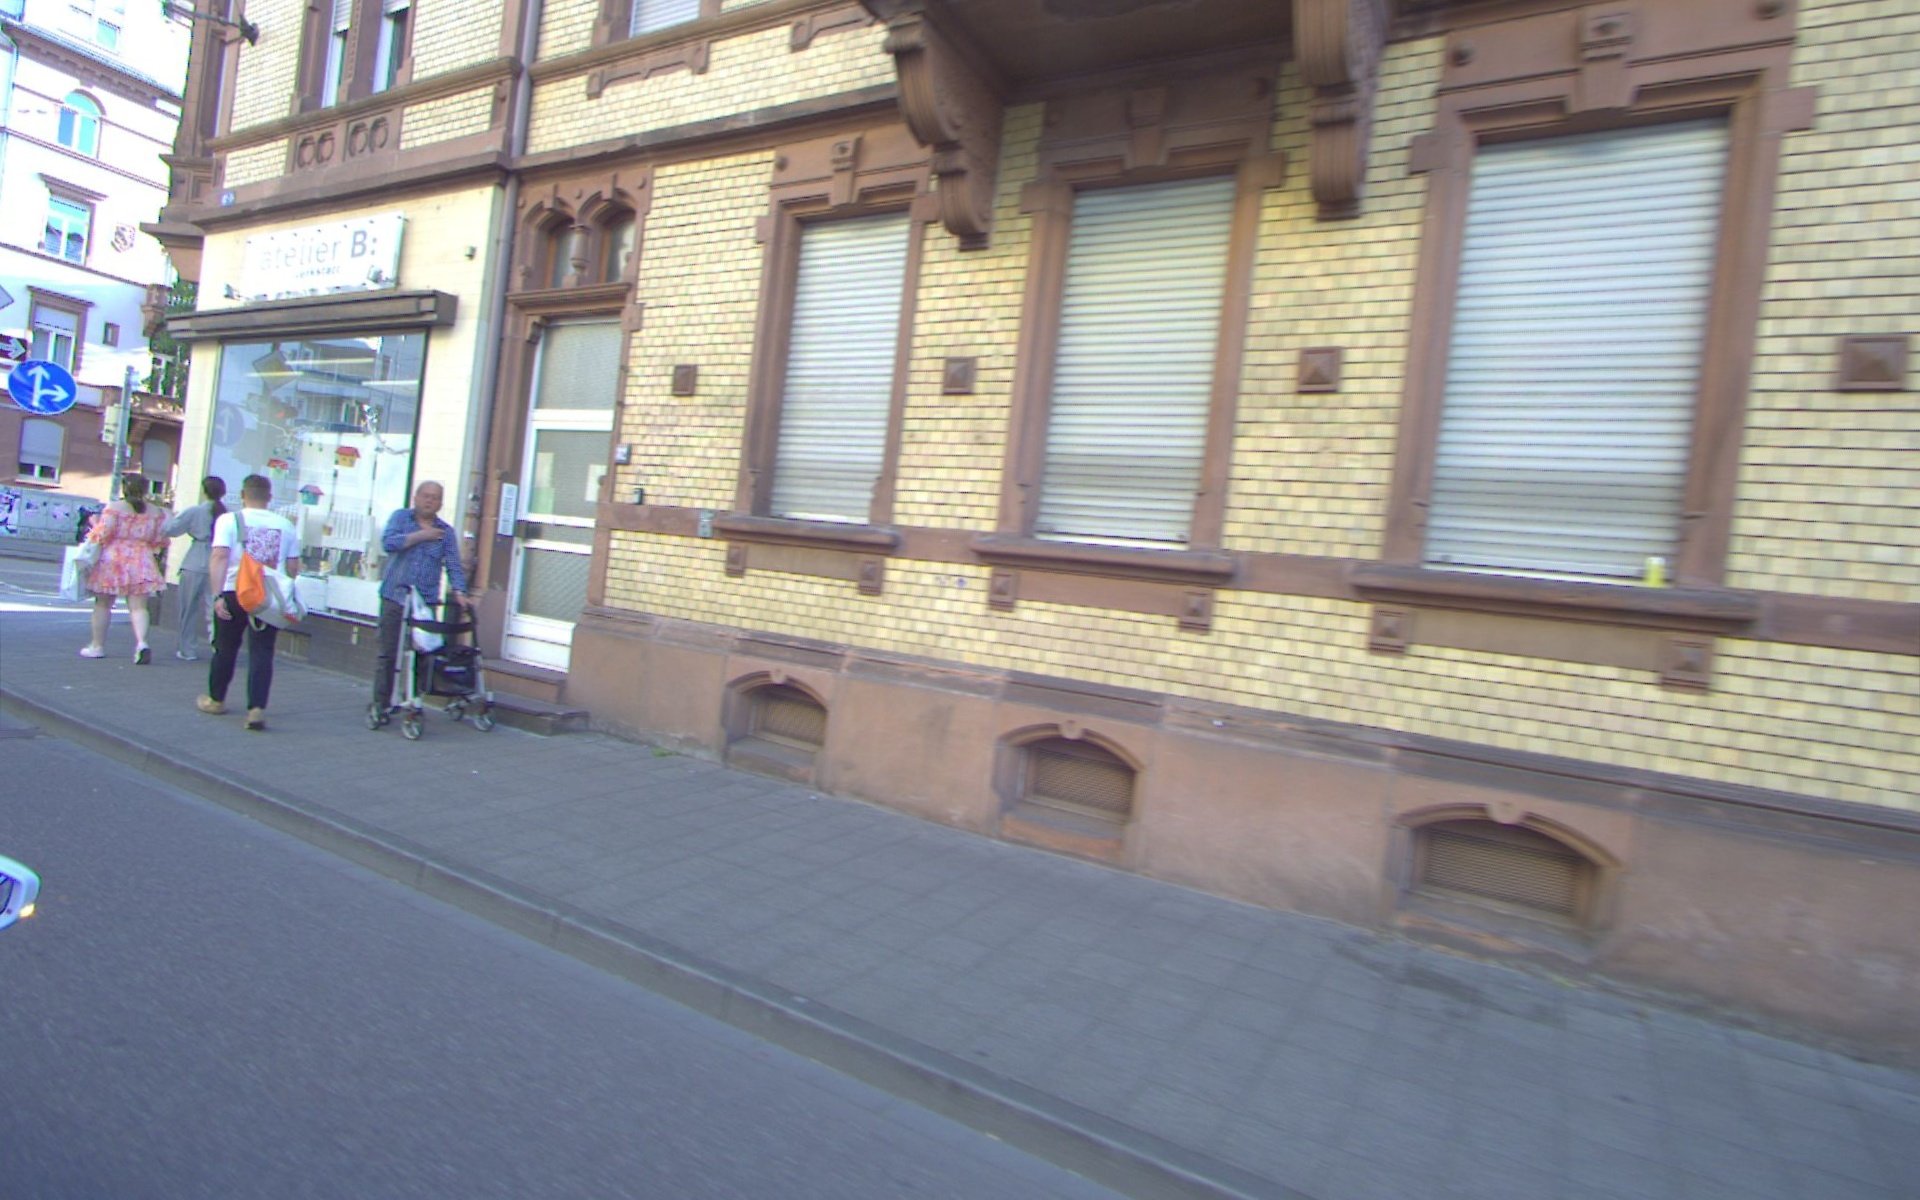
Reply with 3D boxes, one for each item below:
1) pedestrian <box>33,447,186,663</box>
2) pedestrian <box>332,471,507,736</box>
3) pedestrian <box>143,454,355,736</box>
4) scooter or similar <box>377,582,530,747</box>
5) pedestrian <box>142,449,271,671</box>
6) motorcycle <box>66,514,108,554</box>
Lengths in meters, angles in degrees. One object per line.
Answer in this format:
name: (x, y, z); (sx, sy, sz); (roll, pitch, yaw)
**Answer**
pedestrian: (-7.704, -0.401, 9.119); (0.748, 1.825, 0.805); (7, 4, 29)
pedestrian: (-4.054, 0.013, 7.561); (0.749, 1.825, 0.805); (8, 4, 31)
pedestrian: (-5.104, -0.059, 7.225); (1.073, 1.825, 0.805); (7, 4, 30)
scooter or similar: (-3.675, 0.442, 7.326); (0.513, 1.085, 0.805); (7, 4, 31)
pedestrian: (-6.966, -0.363, 9.309); (0.659, 1.935, 0.690); (8, 4, 29)
motorcycle: (-28.515, -2.170, 32.855); (2.255, 1.032, 0.718); (9, 1, 43)
